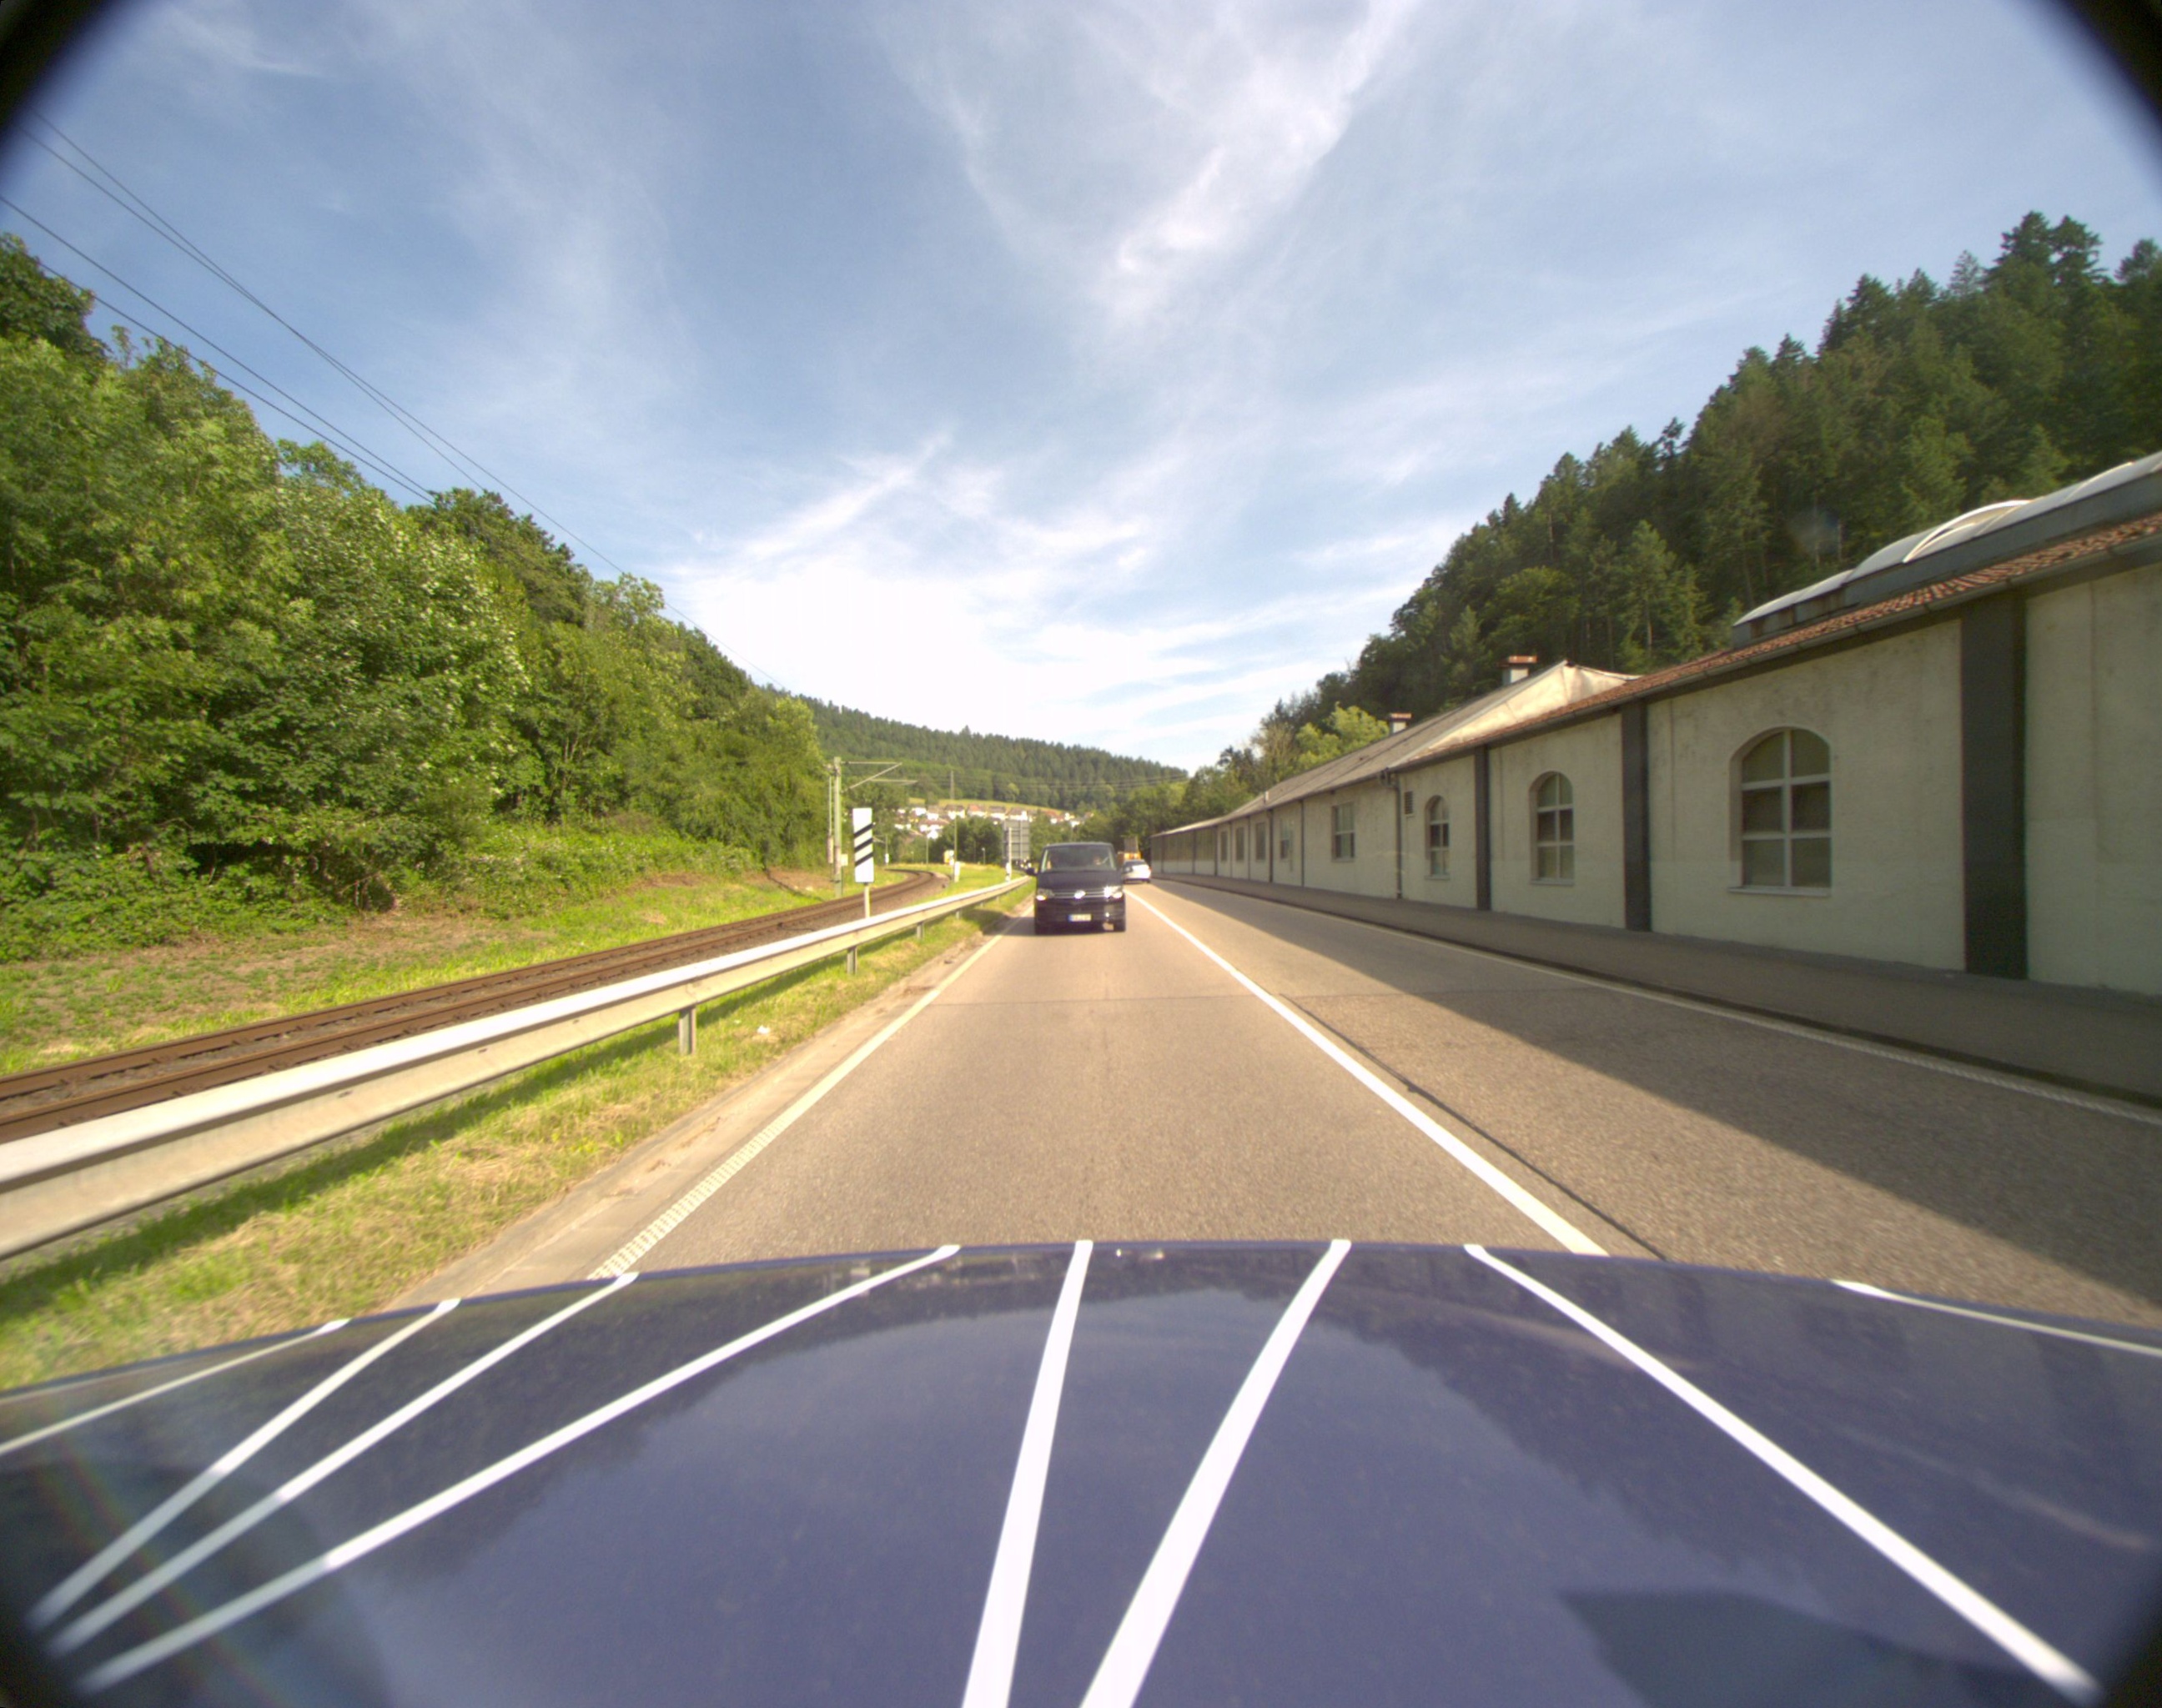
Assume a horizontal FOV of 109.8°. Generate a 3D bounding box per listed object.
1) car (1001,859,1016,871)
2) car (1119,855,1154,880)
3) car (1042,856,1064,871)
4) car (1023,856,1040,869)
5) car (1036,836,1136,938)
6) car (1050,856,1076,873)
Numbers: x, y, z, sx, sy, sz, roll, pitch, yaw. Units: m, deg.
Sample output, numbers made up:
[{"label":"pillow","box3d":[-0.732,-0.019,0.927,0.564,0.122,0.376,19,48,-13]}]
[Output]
[{"label":"car","box3d":[-13.495,2.062,141.641,2.001,2.002,3.994,-2,1,-16]},{"label":"car","box3d":[3.273,0.765,45.736,1.744,1.384,4.109,-2,0,0]},{"label":"car","box3d":[-3.264,1.087,87.183,1.874,1.583,4.049,-1,-1,-10]},{"label":"car","box3d":[-6.646,1.114,101.804,1.874,1.583,4.048,-2,0,-10]},{"label":"car","box3d":[0.039,0.647,17.419,1.901,1.927,5.188,-2,0,-1]},{"label":"car","box3d":[-1.834,1.086,75.291,1.874,1.583,4.049,-1,-1,-10]}]
